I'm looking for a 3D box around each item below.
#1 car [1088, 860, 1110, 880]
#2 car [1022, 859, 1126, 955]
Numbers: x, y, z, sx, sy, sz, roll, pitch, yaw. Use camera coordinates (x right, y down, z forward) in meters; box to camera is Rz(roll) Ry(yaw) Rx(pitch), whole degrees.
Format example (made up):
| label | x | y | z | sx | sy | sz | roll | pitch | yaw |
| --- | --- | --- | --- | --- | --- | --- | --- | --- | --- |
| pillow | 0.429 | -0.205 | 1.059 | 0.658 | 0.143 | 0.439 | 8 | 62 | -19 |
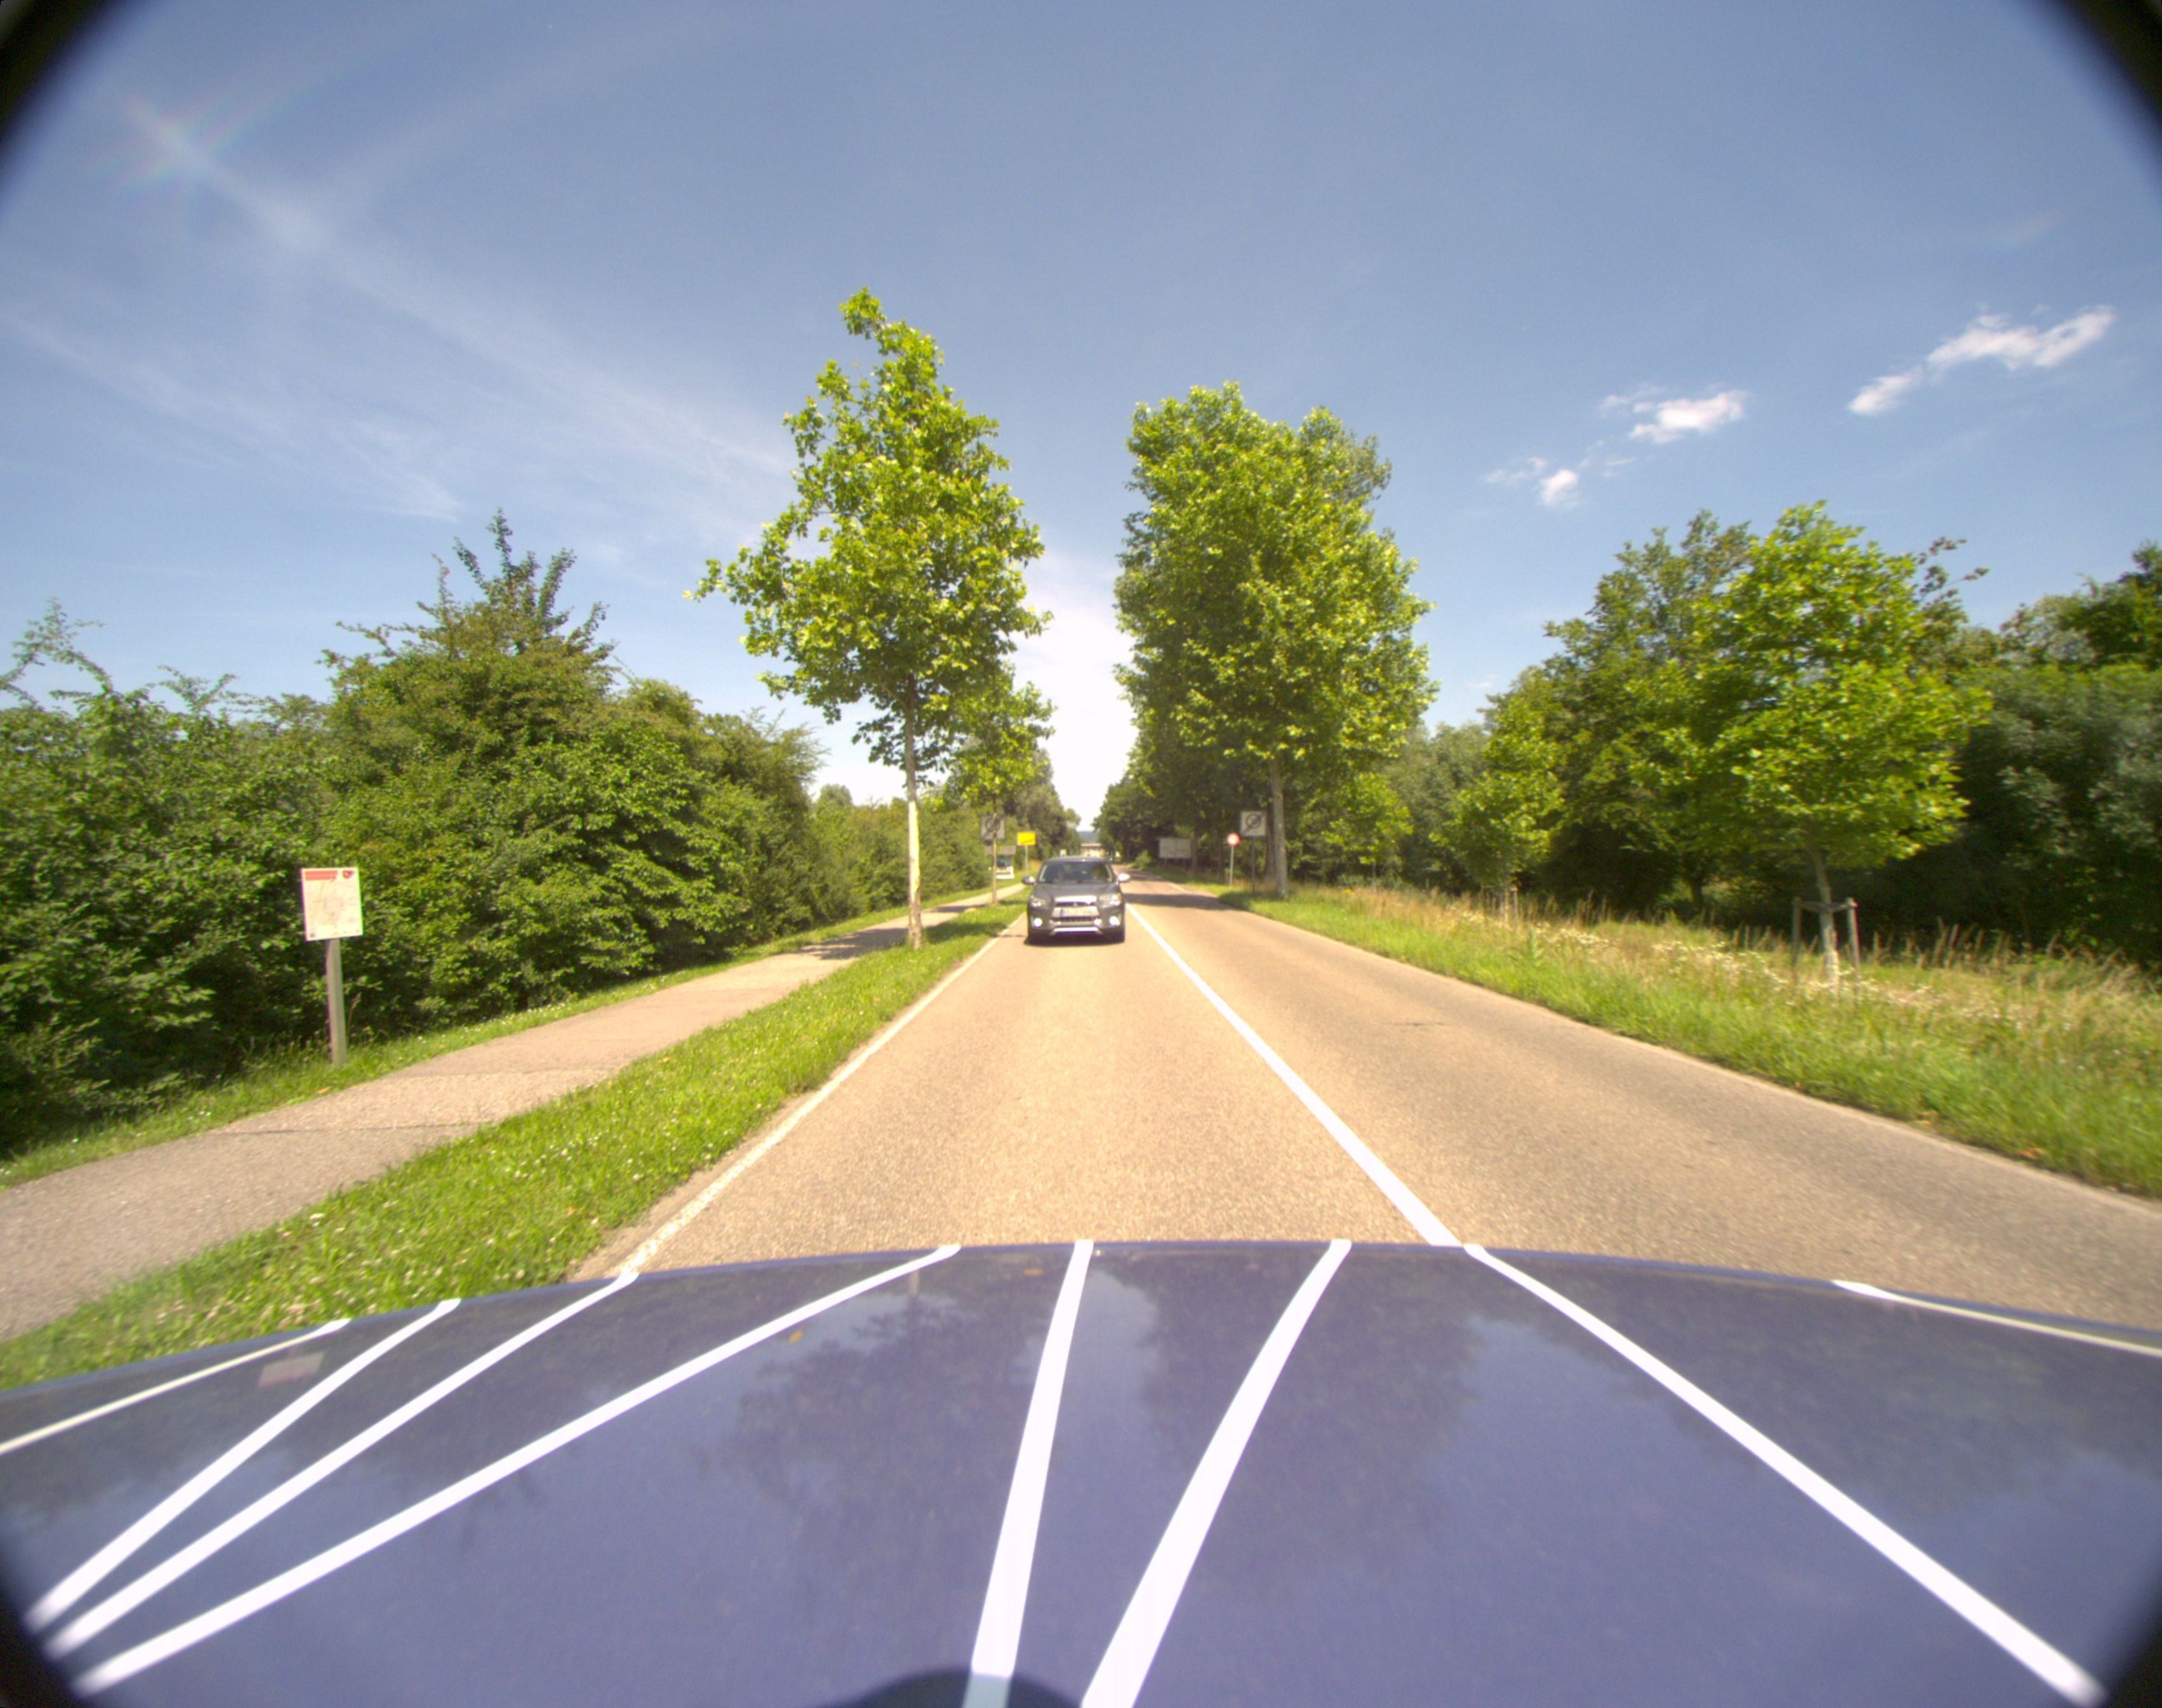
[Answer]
| label | x | y | z | sx | sy | sz | roll | pitch | yaw |
| --- | --- | --- | --- | --- | --- | --- | --- | --- | --- |
| car | 1.230 | 1.095 | 52.946 | 1.429 | 1.270 | 3.160 | -1 | 0 | 1 |
| car | -0.103 | 0.923 | 15.261 | 1.750 | 1.525 | 4.524 | -1 | 1 | 0 |
